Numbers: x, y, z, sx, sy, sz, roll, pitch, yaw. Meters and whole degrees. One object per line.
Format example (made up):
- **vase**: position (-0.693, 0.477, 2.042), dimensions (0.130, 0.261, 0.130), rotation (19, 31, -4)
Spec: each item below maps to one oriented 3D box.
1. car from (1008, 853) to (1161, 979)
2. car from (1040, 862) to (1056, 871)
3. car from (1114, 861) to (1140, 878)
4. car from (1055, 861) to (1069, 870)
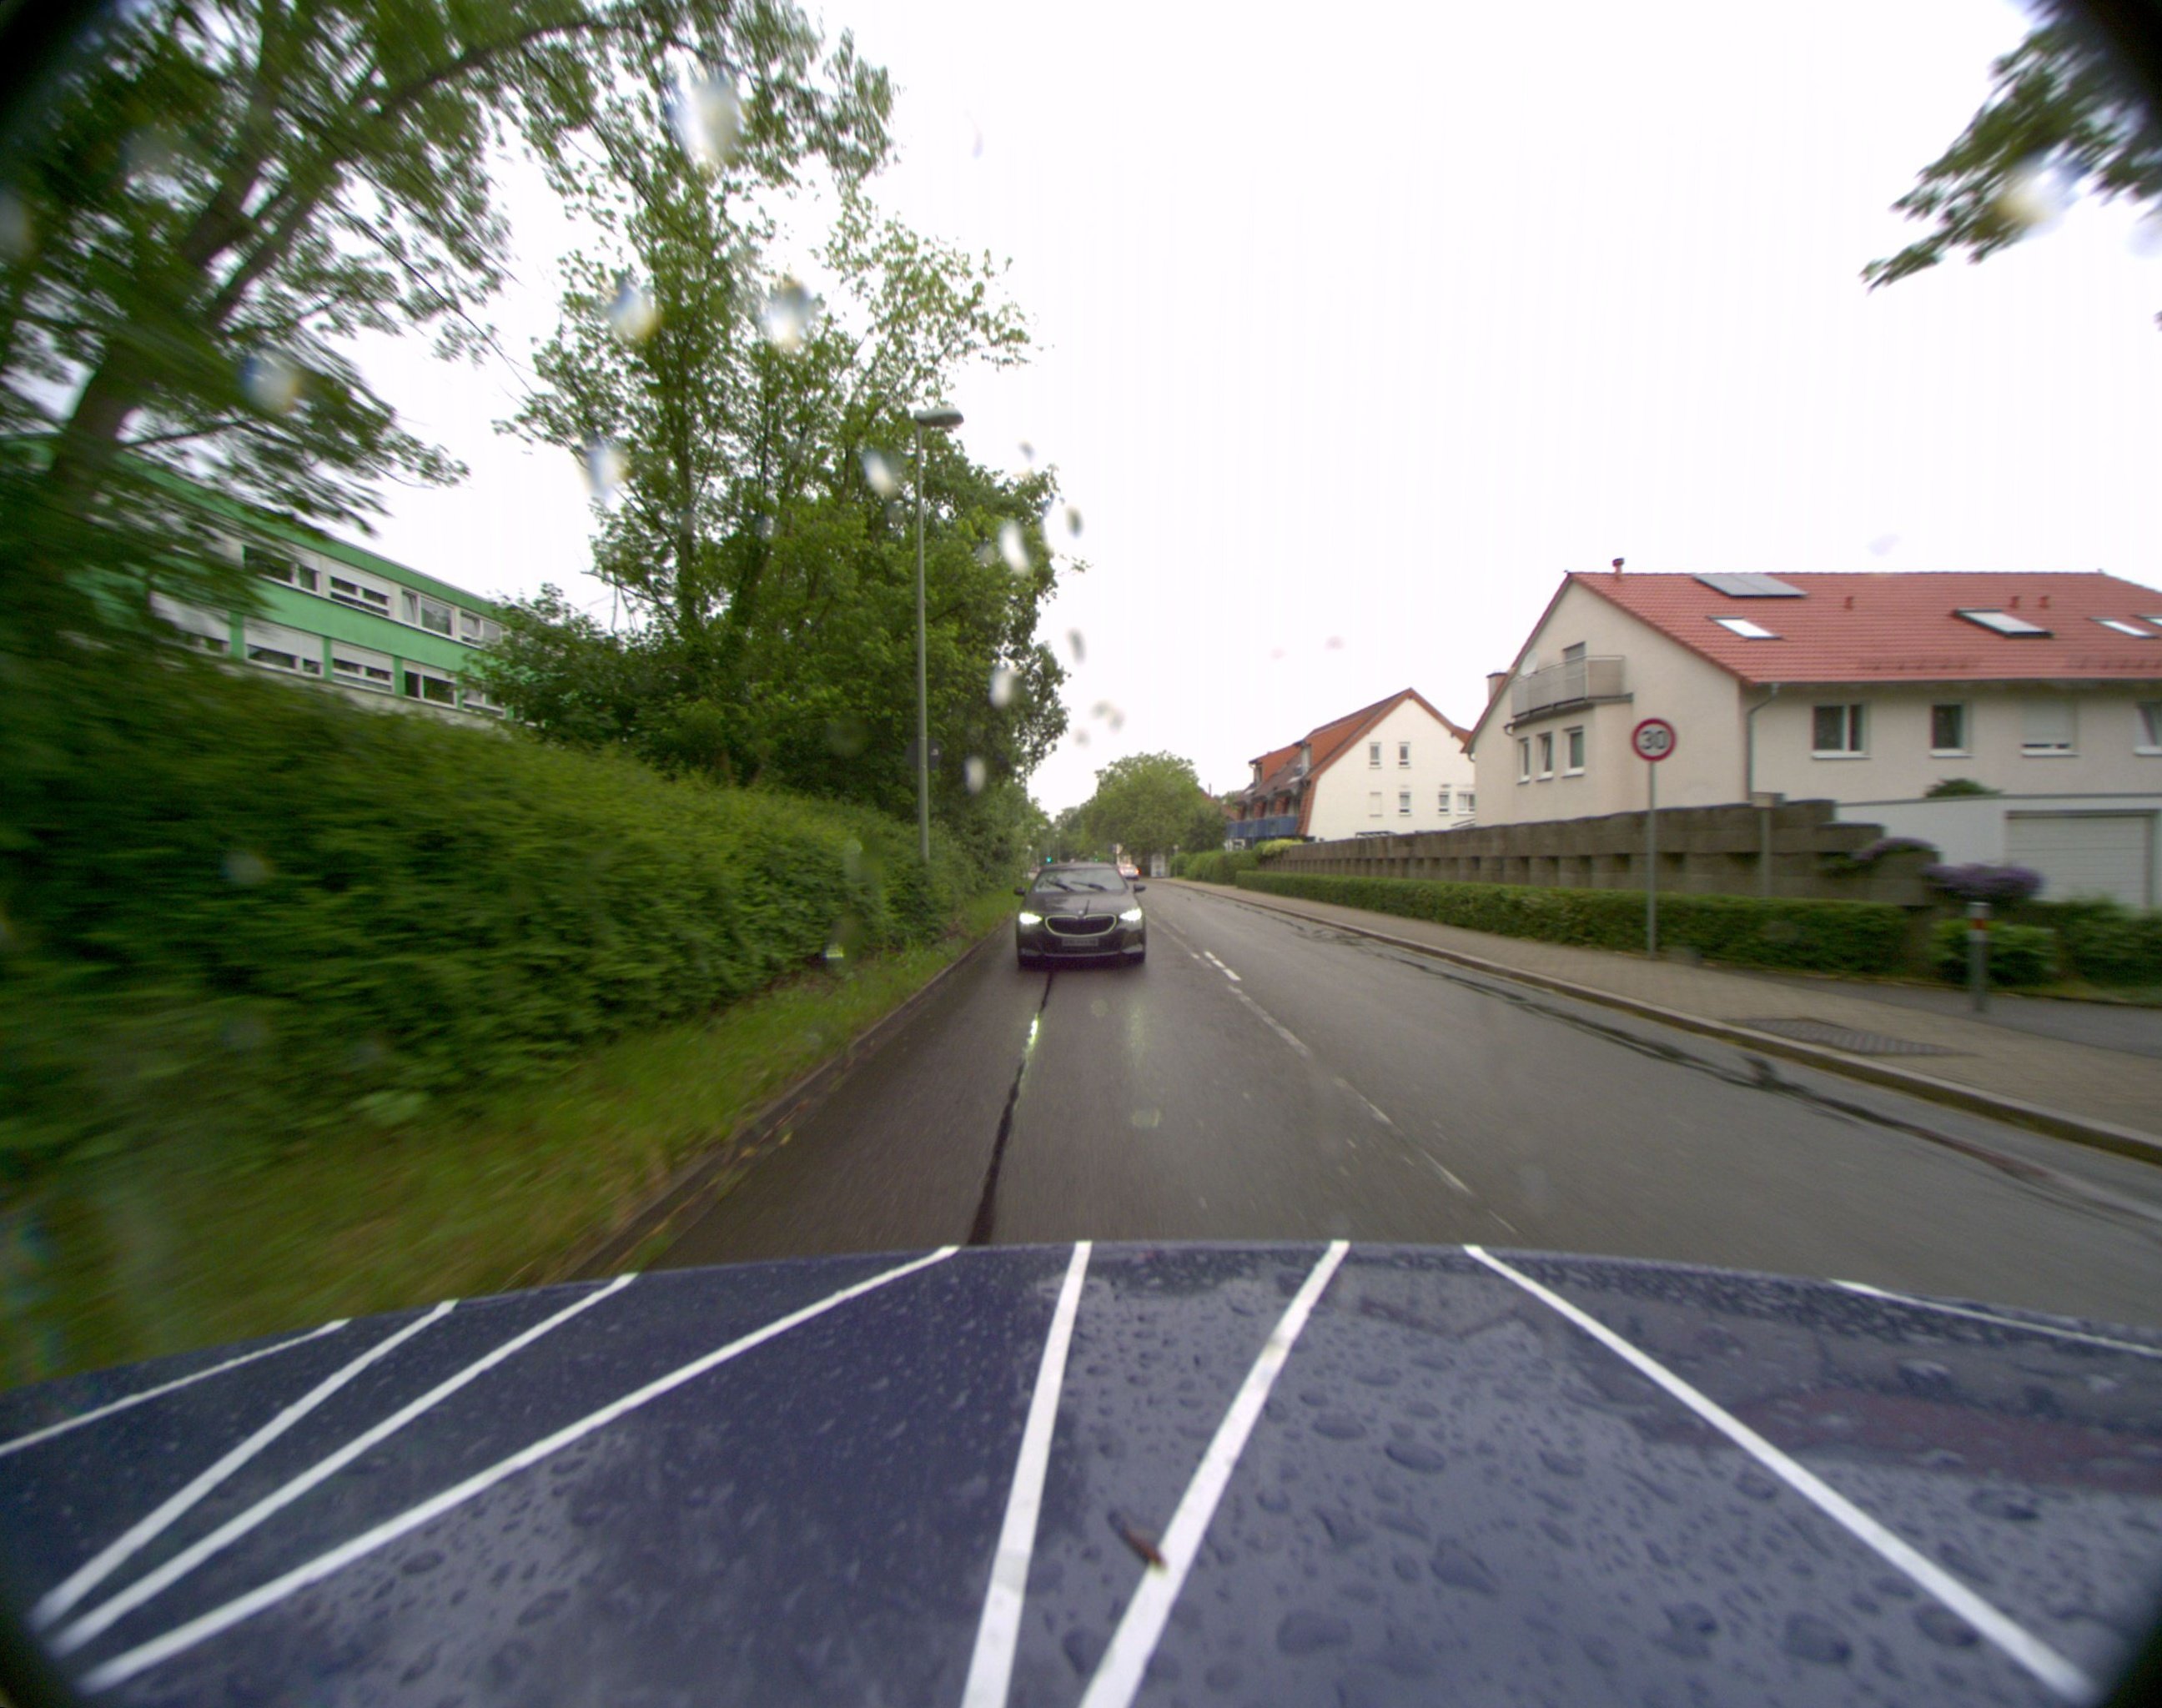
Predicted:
- **car**: position (-0.098, 0.868, 12.360), dimensions (1.999, 1.586, 4.146), rotation (-3, -1, -4)
- **car**: position (-6.240, 2.404, 144.269), dimensions (2.001, 1.651, 4.298), rotation (0, -1, -17)
- **car**: position (4.034, 1.383, 67.029), dimensions (1.998, 1.411, 4.486), rotation (1, 0, 0)
- **car**: position (-3.445, 2.165, 137.307), dimensions (2.000, 1.420, 4.387), rotation (4, -2, -5)
